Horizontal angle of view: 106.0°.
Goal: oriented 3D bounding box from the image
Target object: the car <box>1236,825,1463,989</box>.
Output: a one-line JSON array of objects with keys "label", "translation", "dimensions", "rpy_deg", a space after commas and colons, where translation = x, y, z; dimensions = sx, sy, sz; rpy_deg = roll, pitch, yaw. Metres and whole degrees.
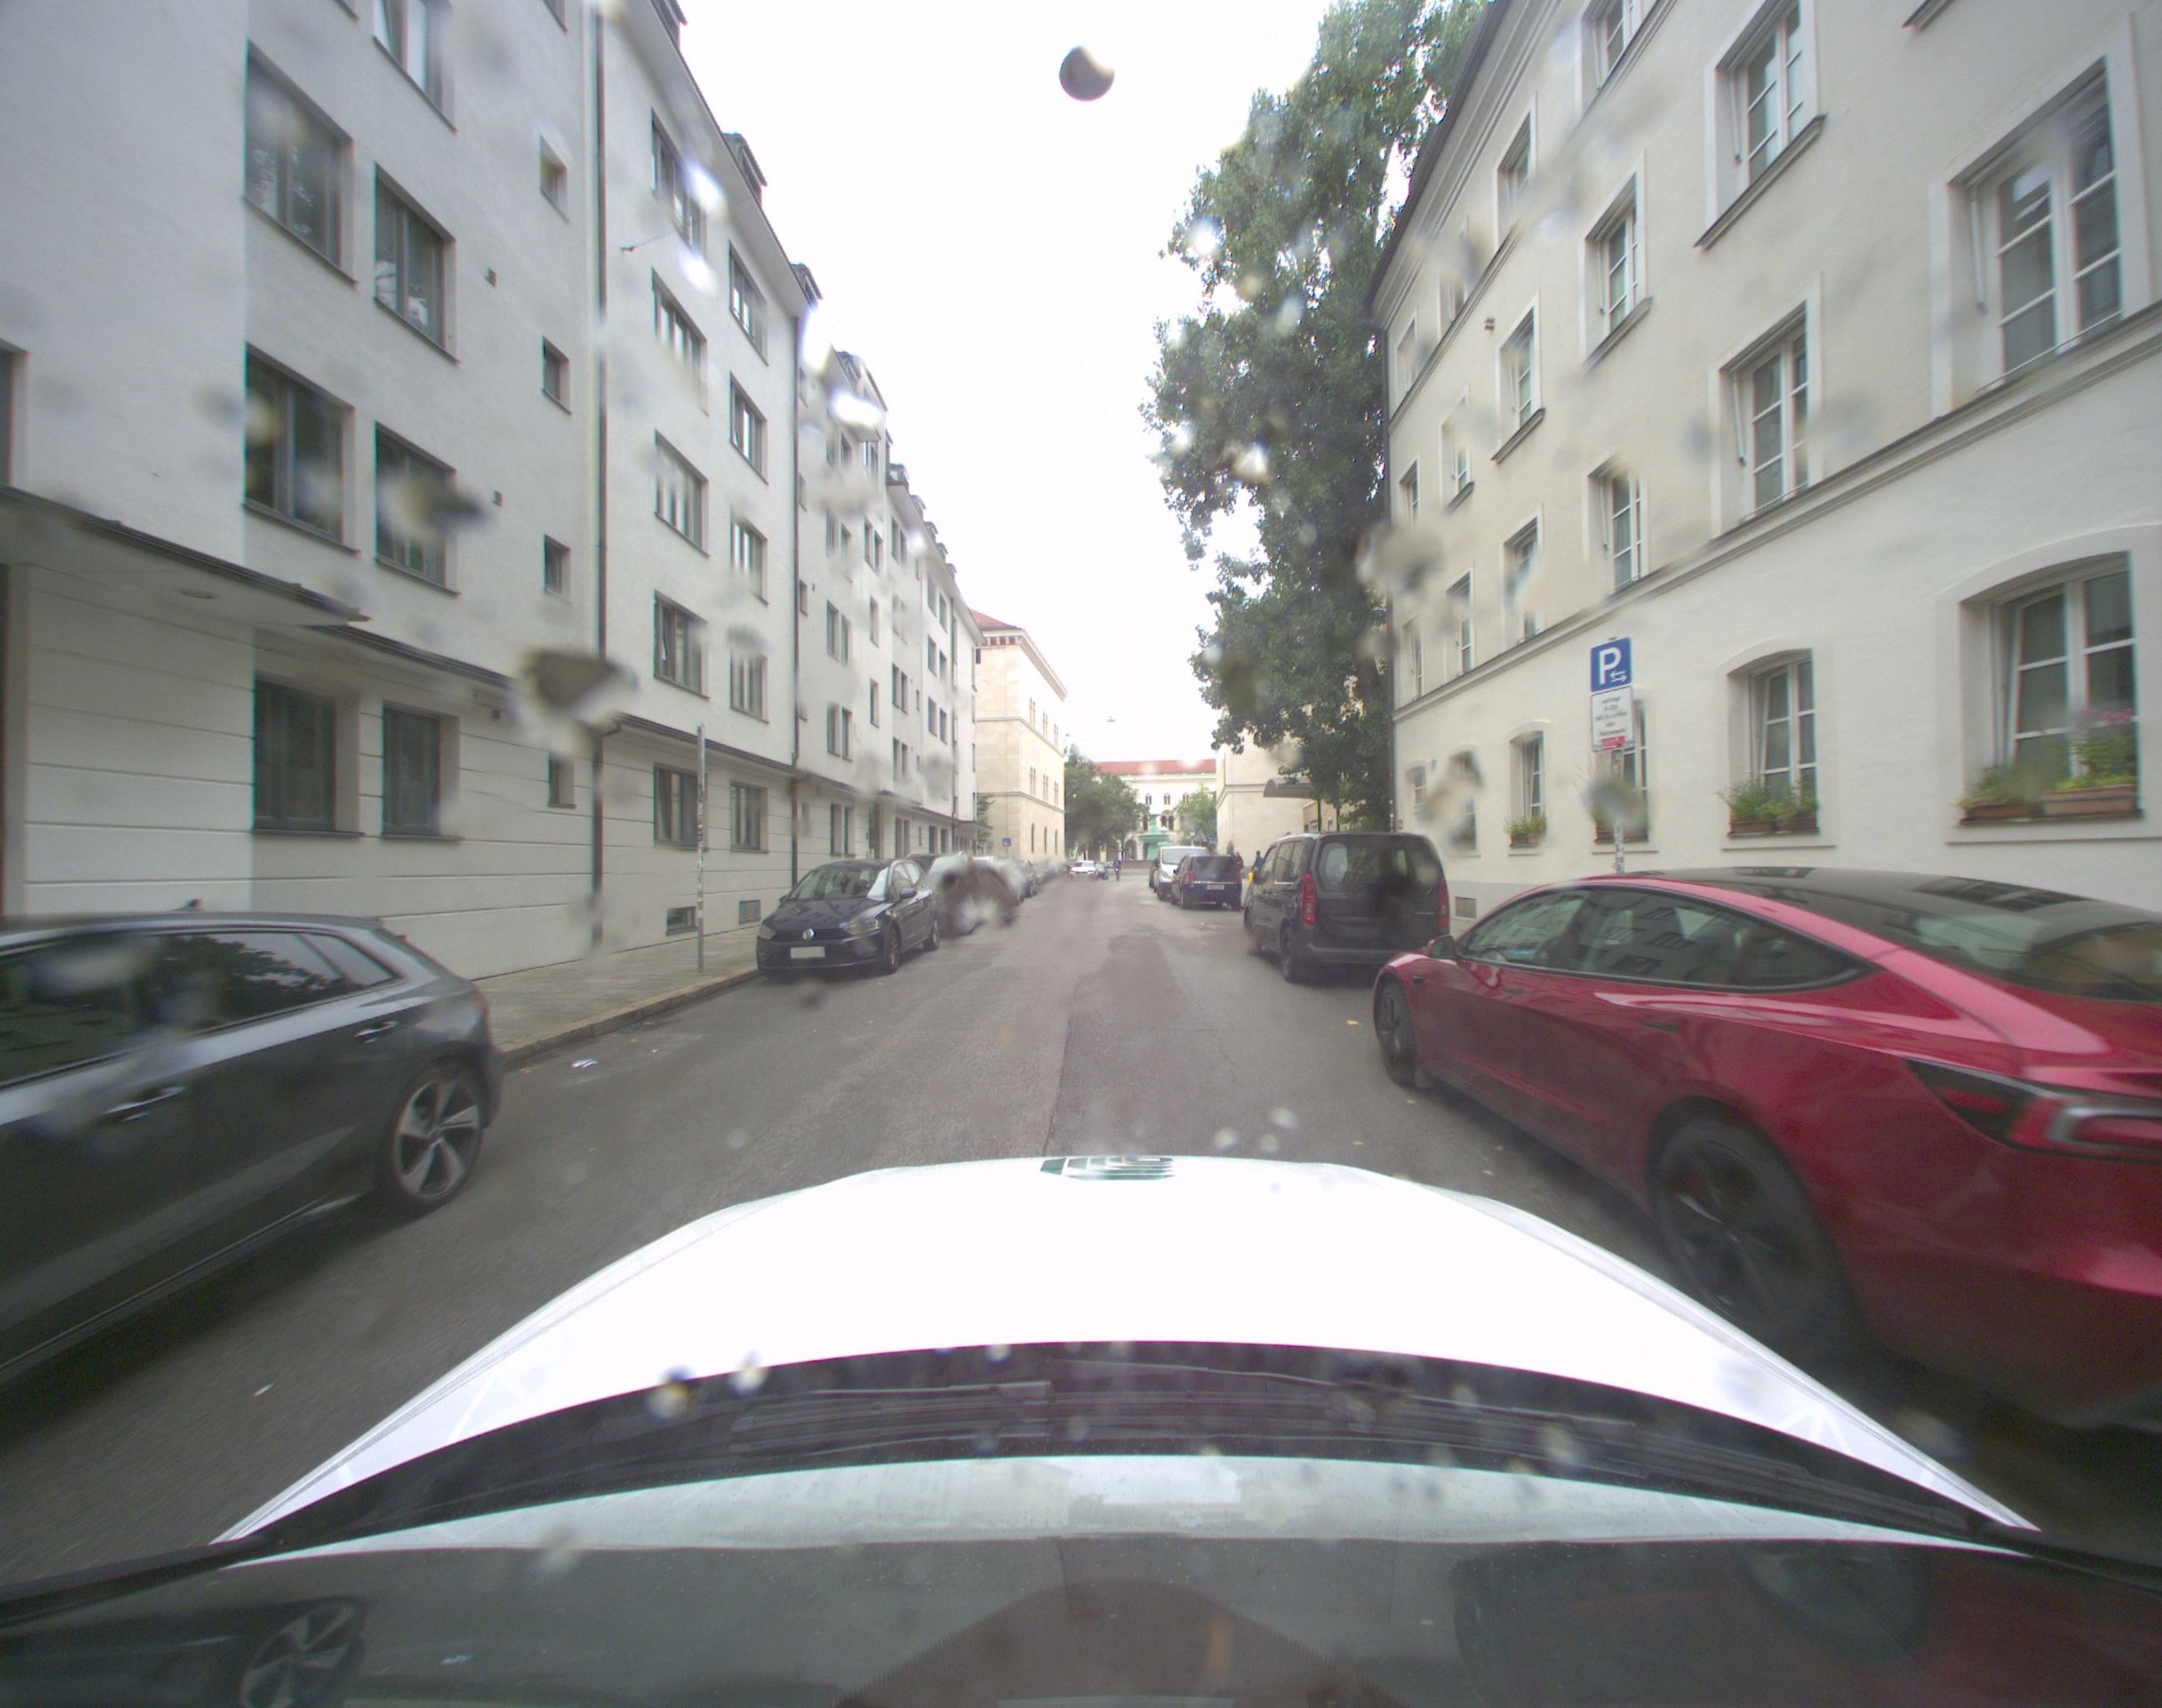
[{"label": "car", "translation": [3.326, 0.590, 10.977], "dimensions": [1.839, 1.776, 4.203], "rpy_deg": [1, 0, 2]}]

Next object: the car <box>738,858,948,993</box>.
[{"label": "car", "translation": [-3.299, 0.896, 12.209], "dimensions": [1.767, 1.539, 4.160], "rpy_deg": [-3, 0, 1]}]

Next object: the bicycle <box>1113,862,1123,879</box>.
[{"label": "bicycle", "translation": [2.703, 1.215, 59.678], "dimensions": [0.646, 1.197, 1.952], "rpy_deg": [-2, 0, 4]}]

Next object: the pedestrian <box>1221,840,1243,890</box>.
[{"label": "pedestrian", "translation": [6.719, 0.502, 36.302], "dimensions": [0.790, 2.197, 0.814], "rpy_deg": [-1, 0, 1]}]

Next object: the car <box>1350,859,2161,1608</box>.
[{"label": "car", "translation": [2.855, 0.762, 3.850], "dimensions": [1.707, 1.424, 4.458], "rpy_deg": [-2, 0, 1]}]

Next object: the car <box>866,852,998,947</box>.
[{"label": "car", "translation": [-3.085, 0.869, 17.864], "dimensions": [1.865, 1.688, 4.521], "rpy_deg": [-3, 0, 1]}]

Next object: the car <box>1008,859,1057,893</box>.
[{"label": "car", "translation": [-2.346, 1.065, 40.317], "dimensions": [1.742, 1.453, 4.021], "rpy_deg": [-3, 0, 5]}]

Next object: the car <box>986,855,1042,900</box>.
[{"label": "car", "translation": [-2.790, 0.961, 34.894], "dimensions": [1.865, 1.658, 4.082], "rpy_deg": [-3, 0, 2]}]

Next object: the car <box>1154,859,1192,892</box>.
[{"label": "car", "translation": [4.286, 0.957, 38.234], "dimensions": [1.665, 1.417, 4.208], "rpy_deg": [-1, 0, 6]}]

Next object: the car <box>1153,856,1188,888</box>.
[{"label": "car", "translation": [4.675, 0.915, 42.842], "dimensions": [1.739, 1.594, 3.961], "rpy_deg": [-1, 0, 5]}]

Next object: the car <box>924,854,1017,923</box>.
[{"label": "car", "translation": [-3.035, 0.895, 23.362], "dimensions": [1.865, 1.658, 4.592], "rpy_deg": [-3, 0, 1]}]

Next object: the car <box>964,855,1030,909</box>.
[{"label": "car", "translation": [-2.935, 0.940, 29.267], "dimensions": [1.867, 1.658, 4.588], "rpy_deg": [-3, 0, -1]}]

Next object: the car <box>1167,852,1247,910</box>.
[{"label": "car", "translation": [3.760, 0.757, 24.904], "dimensions": [1.802, 1.600, 4.215], "rpy_deg": [-1, 0, 0]}]

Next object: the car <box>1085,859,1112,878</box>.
[{"label": "car", "translation": [1.436, 1.165, 66.591], "dimensions": [1.689, 1.393, 4.220], "rpy_deg": [-3, -1, 7]}]

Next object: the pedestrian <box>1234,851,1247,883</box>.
[{"label": "pedestrian", "translation": [8.224, 0.664, 42.033], "dimensions": [0.584, 1.633, 0.879], "rpy_deg": [-1, 0, 7]}]

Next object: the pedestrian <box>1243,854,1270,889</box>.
[{"label": "pedestrian", "translation": [8.025, 0.794, 37.253], "dimensions": [0.951, 1.547, 0.671], "rpy_deg": [-1, 0, -14]}]

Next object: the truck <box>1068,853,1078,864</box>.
[{"label": "truck", "translation": [-1.842, 1.008, 184.979], "dimensions": [1.989, 2.489, 3.995], "rpy_deg": [-1, 0, -4]}]

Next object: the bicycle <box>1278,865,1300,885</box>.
[{"label": "bicycle", "translation": [9.100, 0.929, 35.672], "dimensions": [0.515, 0.817, 1.433], "rpy_deg": [-2, 0, -1]}]

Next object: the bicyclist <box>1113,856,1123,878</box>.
[{"label": "bicyclist", "translation": [2.705, 0.961, 59.780], "dimensions": [0.654, 1.551, 0.888], "rpy_deg": [-2, -1, 4]}]

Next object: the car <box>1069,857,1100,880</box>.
[{"label": "car", "translation": [0.310, 1.068, 60.274], "dimensions": [1.769, 1.535, 4.219], "rpy_deg": [-3, -1, 6]}]

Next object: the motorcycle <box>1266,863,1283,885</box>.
[{"label": "motorcycle", "translation": [9.507, 0.977, 40.096], "dimensions": [0.486, 1.054, 1.925], "rpy_deg": [-1, 0, 3]}]

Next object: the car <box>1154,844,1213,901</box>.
[{"label": "car", "translation": [3.775, 0.656, 30.618], "dimensions": [1.874, 1.924, 4.880], "rpy_deg": [-2, 0, 4]}]

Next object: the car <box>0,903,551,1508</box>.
[{"label": "car", "translation": [-3.564, 0.992, 2.314], "dimensions": [1.636, 1.354, 4.052], "rpy_deg": [-3, 0, -5]}]

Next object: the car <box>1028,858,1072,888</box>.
[{"label": "car", "translation": [-1.657, 1.026, 45.055], "dimensions": [1.741, 1.453, 4.024], "rpy_deg": [-3, 0, 7]}]
